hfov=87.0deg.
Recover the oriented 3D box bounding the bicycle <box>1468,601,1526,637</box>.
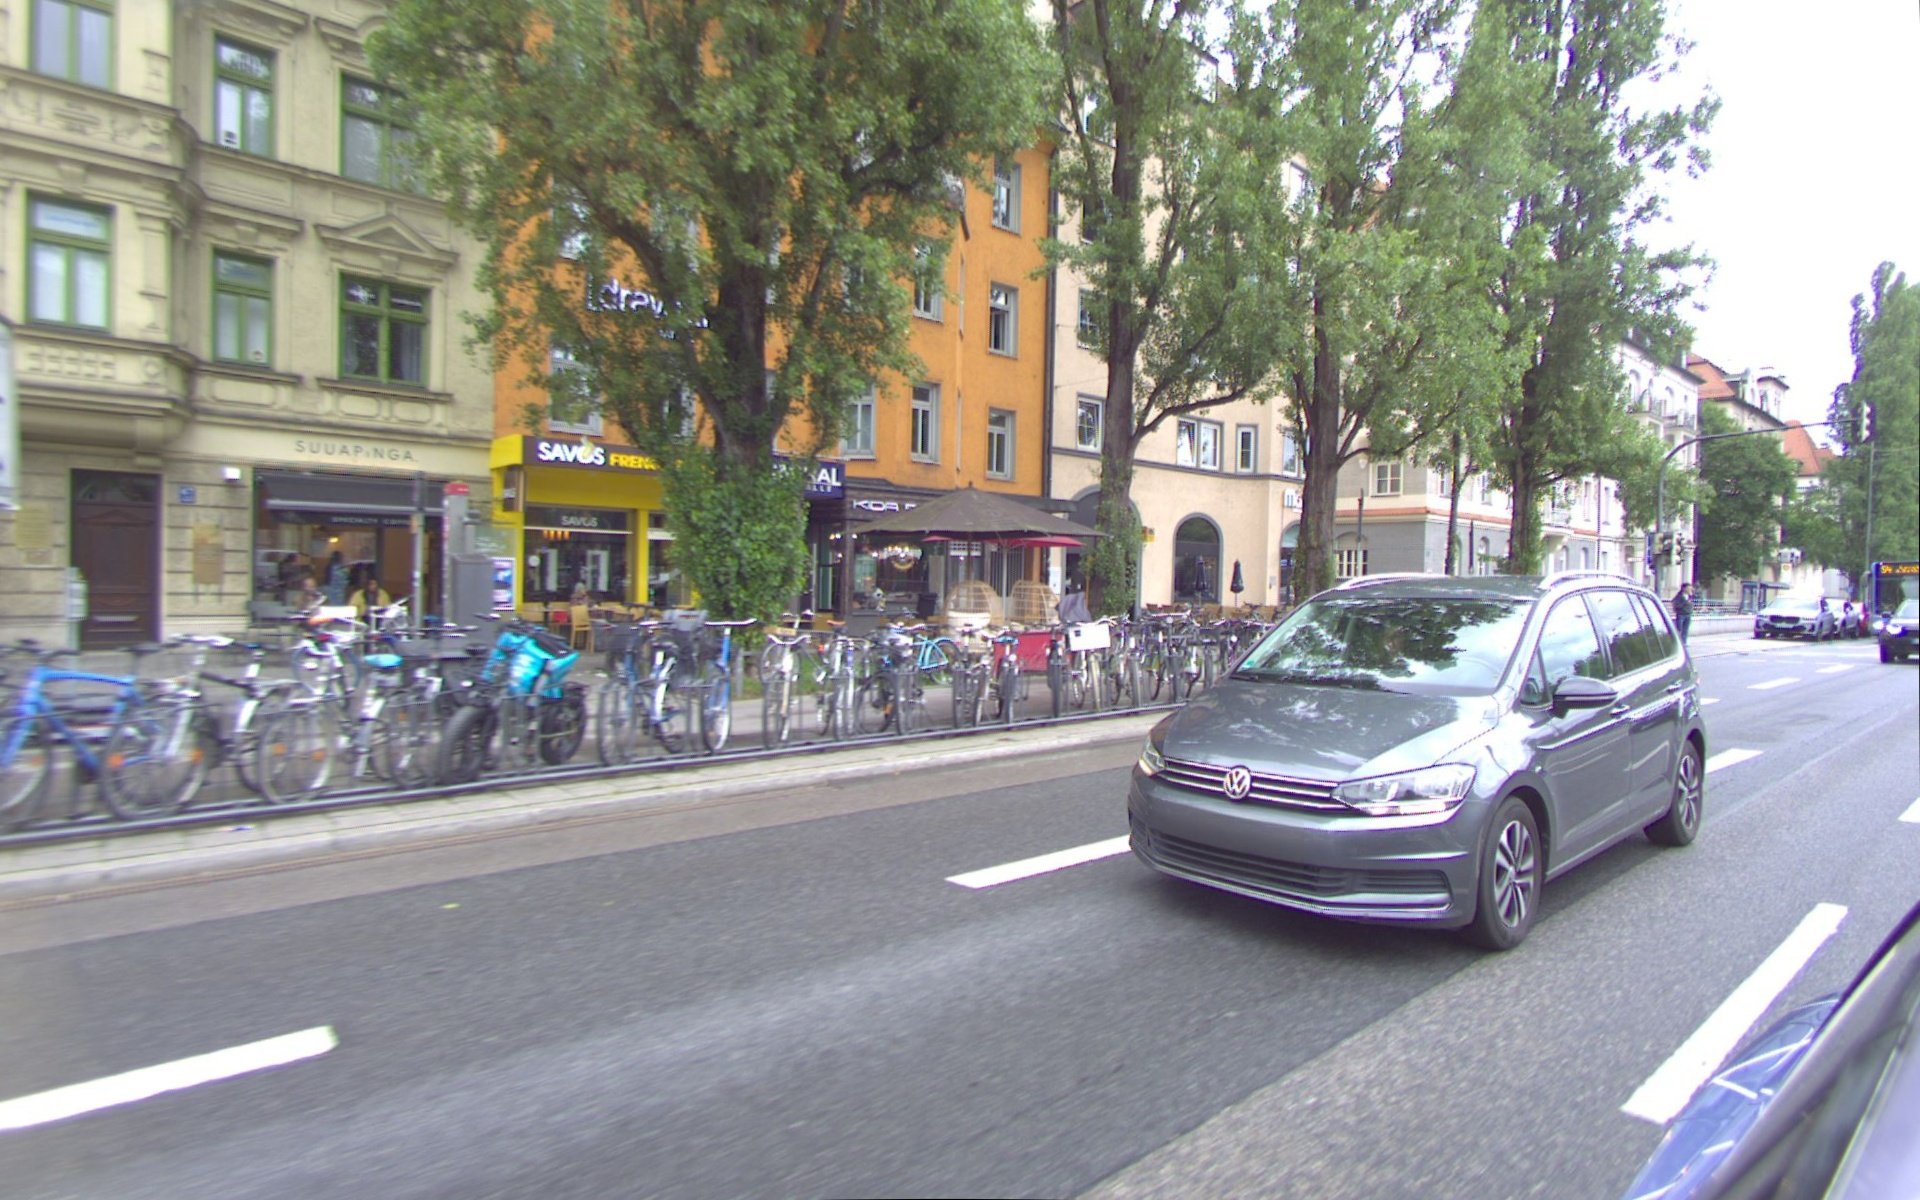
[{"bbox_3d":[16.613,0.565,31.346,0.385,1.063,1.575,0,1,-39],"label":"bicycle"}]

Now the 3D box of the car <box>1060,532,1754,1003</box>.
[{"bbox_3d":[2.820,0.583,5.764,4.624,1.668,1.775,0,0,-40],"label":"car"}]

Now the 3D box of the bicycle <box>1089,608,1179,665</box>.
[{"bbox_3d":[3.023,0.611,17.446,1.861,0.903,0.457,0,2,-42],"label":"bicycle"}]

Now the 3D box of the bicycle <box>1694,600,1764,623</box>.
[{"bbox_3d":[40.686,0.576,53.573,2.899,1.162,0.633,1,0,33],"label":"bicycle"}]

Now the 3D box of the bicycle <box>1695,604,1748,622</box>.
[{"bbox_3d":[41.281,0.690,54.894,2.312,0.933,0.579,1,0,38],"label":"bicycle"}]

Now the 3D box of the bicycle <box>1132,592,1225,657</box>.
[{"bbox_3d":[4.372,0.463,20.362,0.571,1.188,1.892,0,2,-38],"label":"bicycle"}]

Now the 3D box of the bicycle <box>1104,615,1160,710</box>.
[{"bbox_3d":[2.045,0.709,12.166,0.368,1.008,1.841,2,0,1],"label":"bicycle"}]

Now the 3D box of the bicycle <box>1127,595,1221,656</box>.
[{"bbox_3d":[4.083,0.462,19.449,0.450,1.067,1.892,0,2,-38],"label":"bicycle"}]

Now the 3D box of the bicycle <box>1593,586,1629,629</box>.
[{"bbox_3d":[20.450,0.216,31.761,1.747,1.304,0.424,0,1,-40],"label":"bicycle"}]

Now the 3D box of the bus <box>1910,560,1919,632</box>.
[{"bbox_3d":[43.869,-0.174,44.127,8.383,3.012,2.635,0,0,-41],"label":"bus"}]

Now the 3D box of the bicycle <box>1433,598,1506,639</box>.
[{"bbox_3d":[14.196,0.504,28.242,0.439,1.124,1.801,1,-1,-38],"label":"bicycle"}]

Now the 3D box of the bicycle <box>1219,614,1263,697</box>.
[{"bbox_3d":[3.748,0.707,13.577,0.369,1.008,1.836,1,0,10],"label":"bicycle"}]

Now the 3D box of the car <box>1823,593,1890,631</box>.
[{"bbox_3d":[38.626,0.471,43.575,3.678,1.527,1.729,0,2,-42],"label":"car"}]

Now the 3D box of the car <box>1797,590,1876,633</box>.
[{"bbox_3d":[35.050,0.424,40.441,3.895,1.596,1.730,0,2,-39],"label":"car"}]

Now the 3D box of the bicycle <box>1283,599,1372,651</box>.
[{"bbox_3d":[8.306,0.542,22.924,0.450,1.067,1.890,0,2,-42],"label":"bicycle"}]

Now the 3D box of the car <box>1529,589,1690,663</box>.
[{"bbox_3d":[14.820,0.523,22.997,4.452,1.458,1.996,0,2,-43],"label":"car"}]

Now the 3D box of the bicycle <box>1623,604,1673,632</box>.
[{"bbox_3d":[25.478,0.656,37.473,1.801,1.036,0.447,0,1,-14],"label":"bicycle"}]

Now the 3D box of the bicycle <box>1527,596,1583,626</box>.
[{"bbox_3d":[23.836,0.422,40.561,1.855,1.169,0.464,0,1,8],"label":"bicycle"}]

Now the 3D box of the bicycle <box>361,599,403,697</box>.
[{"bbox_3d":[-6.869,0.536,12.050,0.379,1.059,1.730,2,0,-29],"label":"bicycle"}]

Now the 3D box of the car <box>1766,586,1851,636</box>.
[{"bbox_3d":[31.246,0.366,37.227,4.424,1.681,1.736,0,2,-42],"label":"car"}]

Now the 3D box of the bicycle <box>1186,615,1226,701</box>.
[{"bbox_3d":[3.166,0.708,13.103,0.369,1.008,1.836,1,0,10],"label":"bicycle"}]

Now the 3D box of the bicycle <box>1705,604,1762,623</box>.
[{"bbox_3d":[40.430,0.690,52.936,2.307,0.933,0.580,1,0,33],"label":"bicycle"}]

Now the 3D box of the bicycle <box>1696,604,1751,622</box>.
[{"bbox_3d":[40.886,0.691,54.230,2.307,0.933,0.580,1,0,33],"label":"bicycle"}]

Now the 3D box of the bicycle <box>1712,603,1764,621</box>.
[{"bbox_3d":[44.683,0.685,58.155,0.629,0.933,2.319,0,1,-43],"label":"bicycle"}]

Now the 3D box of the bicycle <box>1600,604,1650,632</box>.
[{"bbox_3d":[25.029,0.657,38.095,1.801,1.036,0.447,0,1,-14],"label":"bicycle"}]

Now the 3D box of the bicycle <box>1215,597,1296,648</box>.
[{"bbox_3d":[7.080,0.517,24.338,0.450,1.127,1.890,0,2,-42],"label":"bicycle"}]

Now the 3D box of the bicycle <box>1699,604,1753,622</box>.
[{"bbox_3d":[42.267,0.689,55.893,0.629,0.933,2.319,0,1,-43],"label":"bicycle"}]

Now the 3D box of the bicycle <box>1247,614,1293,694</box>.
[{"bbox_3d":[4.254,0.706,13.953,0.369,1.008,1.836,1,0,10],"label":"bicycle"}]

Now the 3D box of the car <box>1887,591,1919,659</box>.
[{"bbox_3d":[23.391,0.565,23.878,3.901,1.522,1.779,0,2,-41],"label":"car"}]

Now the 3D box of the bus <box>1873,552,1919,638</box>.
[{"bbox_3d":[37.170,-0.162,38.367,9.299,3.012,2.635,0,0,-41],"label":"bus"}]

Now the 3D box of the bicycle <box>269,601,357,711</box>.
[{"bbox_3d":[-6.920,0.561,10.790,1.723,1.059,0.381,2,0,44],"label":"bicycle"}]
